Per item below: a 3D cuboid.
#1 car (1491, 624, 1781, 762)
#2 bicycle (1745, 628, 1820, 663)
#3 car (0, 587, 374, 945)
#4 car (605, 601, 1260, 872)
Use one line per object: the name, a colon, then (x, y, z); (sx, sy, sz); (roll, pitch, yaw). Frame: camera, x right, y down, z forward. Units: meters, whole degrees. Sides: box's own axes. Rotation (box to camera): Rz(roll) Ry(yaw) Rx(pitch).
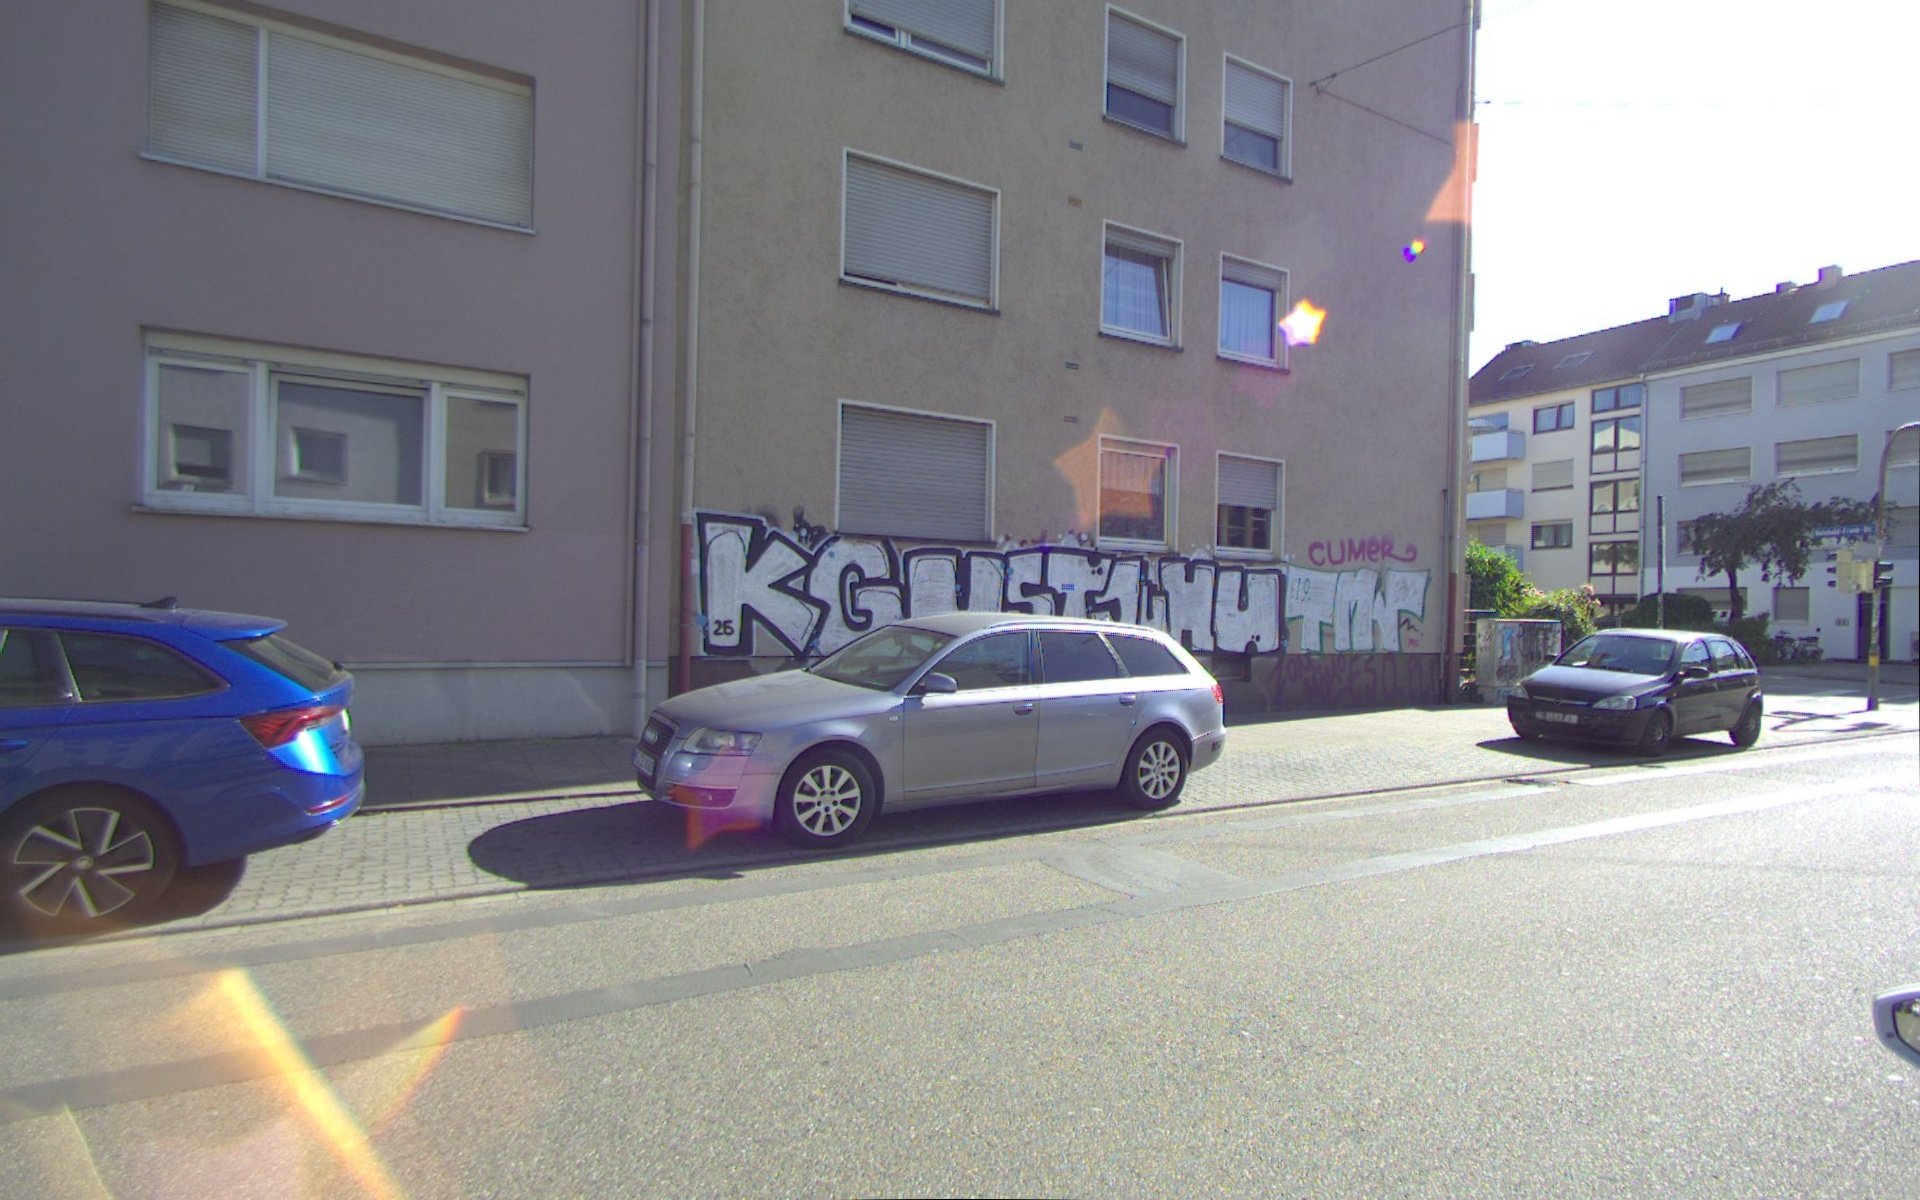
car: (8.640, 1.084, 12.785); (3.667, 1.444, 1.608); (1, 2, -31)
bicycle: (29.774, 1.646, 36.414); (2.068, 1.188, 0.738); (0, -1, 37)
car: (-5.357, 0.700, 4.611); (4.558, 1.485, 1.709); (1, 2, -30)
car: (-0.061, 0.829, 7.683); (4.759, 1.485, 1.708); (1, 1, -31)
